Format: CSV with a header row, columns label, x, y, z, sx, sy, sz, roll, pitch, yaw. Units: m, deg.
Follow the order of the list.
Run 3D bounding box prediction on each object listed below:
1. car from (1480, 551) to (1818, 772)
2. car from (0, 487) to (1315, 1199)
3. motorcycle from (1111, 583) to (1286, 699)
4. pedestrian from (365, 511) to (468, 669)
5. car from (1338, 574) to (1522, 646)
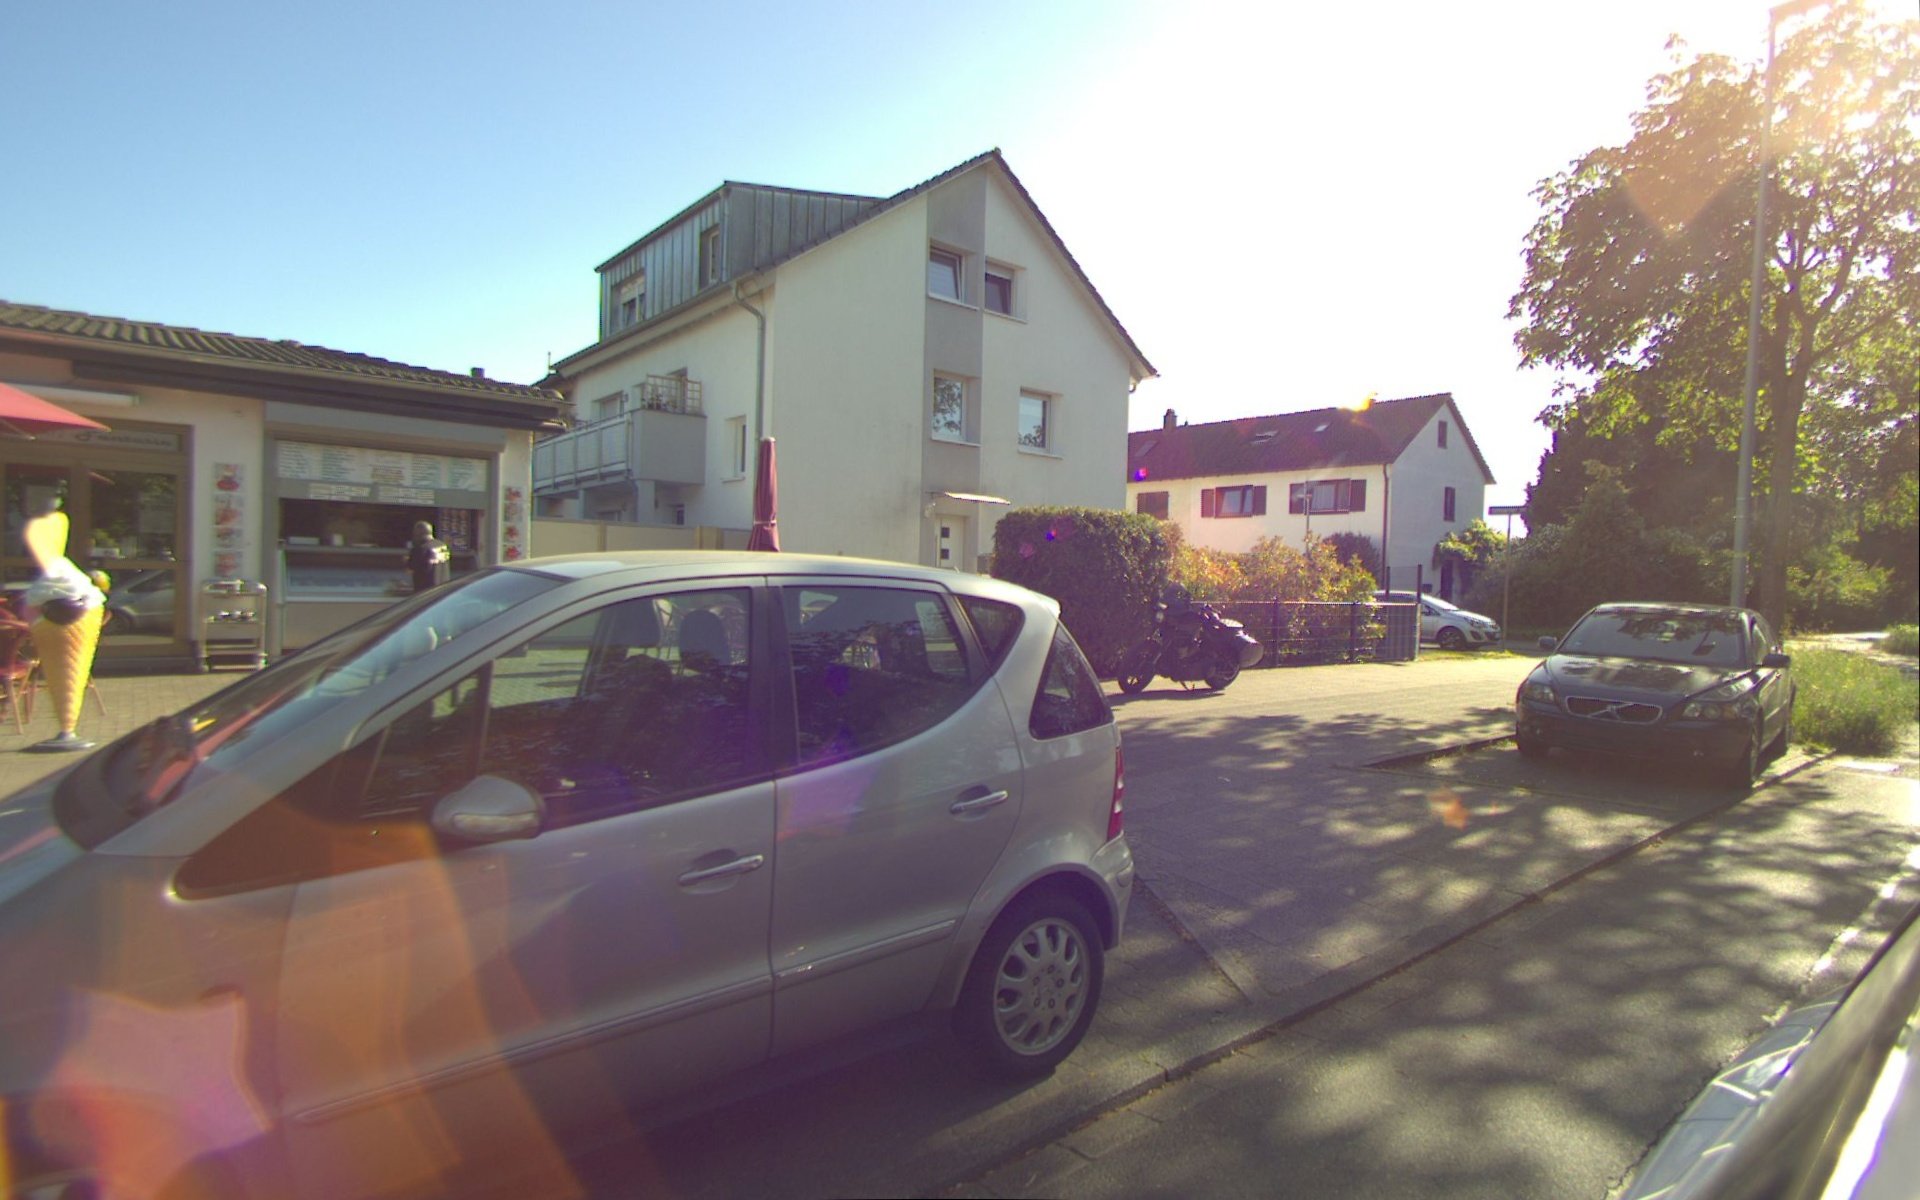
label,x,y,z,sx,sy,sz,roll,pitch,yaw
car,6.797,0.473,9.778,1.993,1.643,4.312,-3,-2,44
car,-0.761,0.651,3.289,4.304,1.643,1.613,-1,-2,-40
motorcycle,2.895,0.447,12.132,2.310,1.242,0.819,0,2,-41
pedestrian,-6.506,-0.123,12.119,0.820,1.800,0.828,1,0,38
car,12.145,0.206,26.311,3.988,1.660,1.748,2,1,44
